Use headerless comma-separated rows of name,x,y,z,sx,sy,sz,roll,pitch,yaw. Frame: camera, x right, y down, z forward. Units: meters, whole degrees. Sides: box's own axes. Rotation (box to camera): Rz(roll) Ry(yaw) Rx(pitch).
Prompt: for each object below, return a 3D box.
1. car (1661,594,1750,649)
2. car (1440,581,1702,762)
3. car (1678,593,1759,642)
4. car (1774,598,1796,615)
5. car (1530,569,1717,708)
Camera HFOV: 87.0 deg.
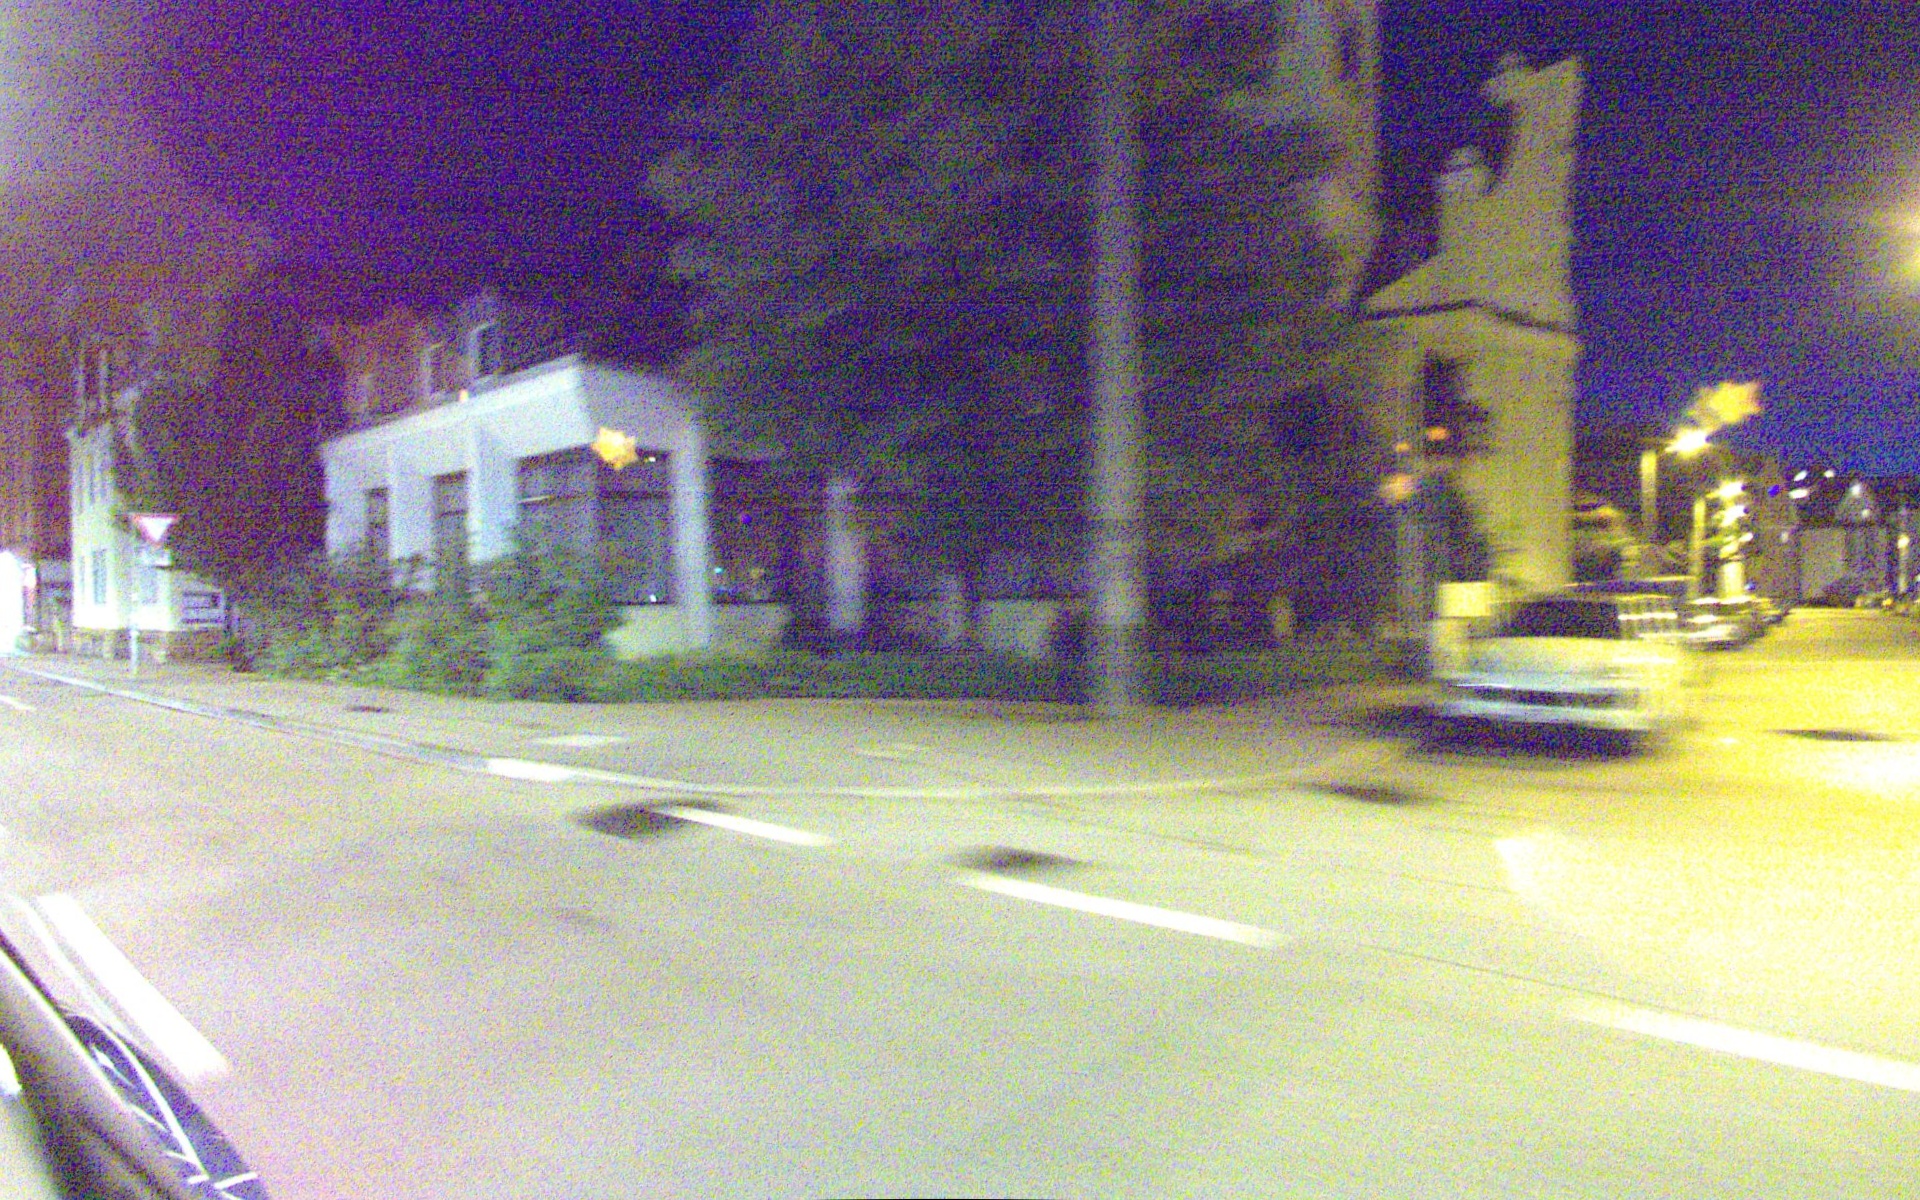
car,22.096,0.614,29.938,1.901,1.517,3.947,-3,-2,39
car,7.167,0.674,11.625,2.001,1.641,4.614,-1,-1,39
car,25.639,0.576,34.159,1.828,1.517,3.944,-3,-2,42
car,78.716,0.669,96.523,1.586,1.586,3.523,-1,-1,39
car,10.914,0.558,16.464,2.026,1.904,4.939,-2,-1,39
